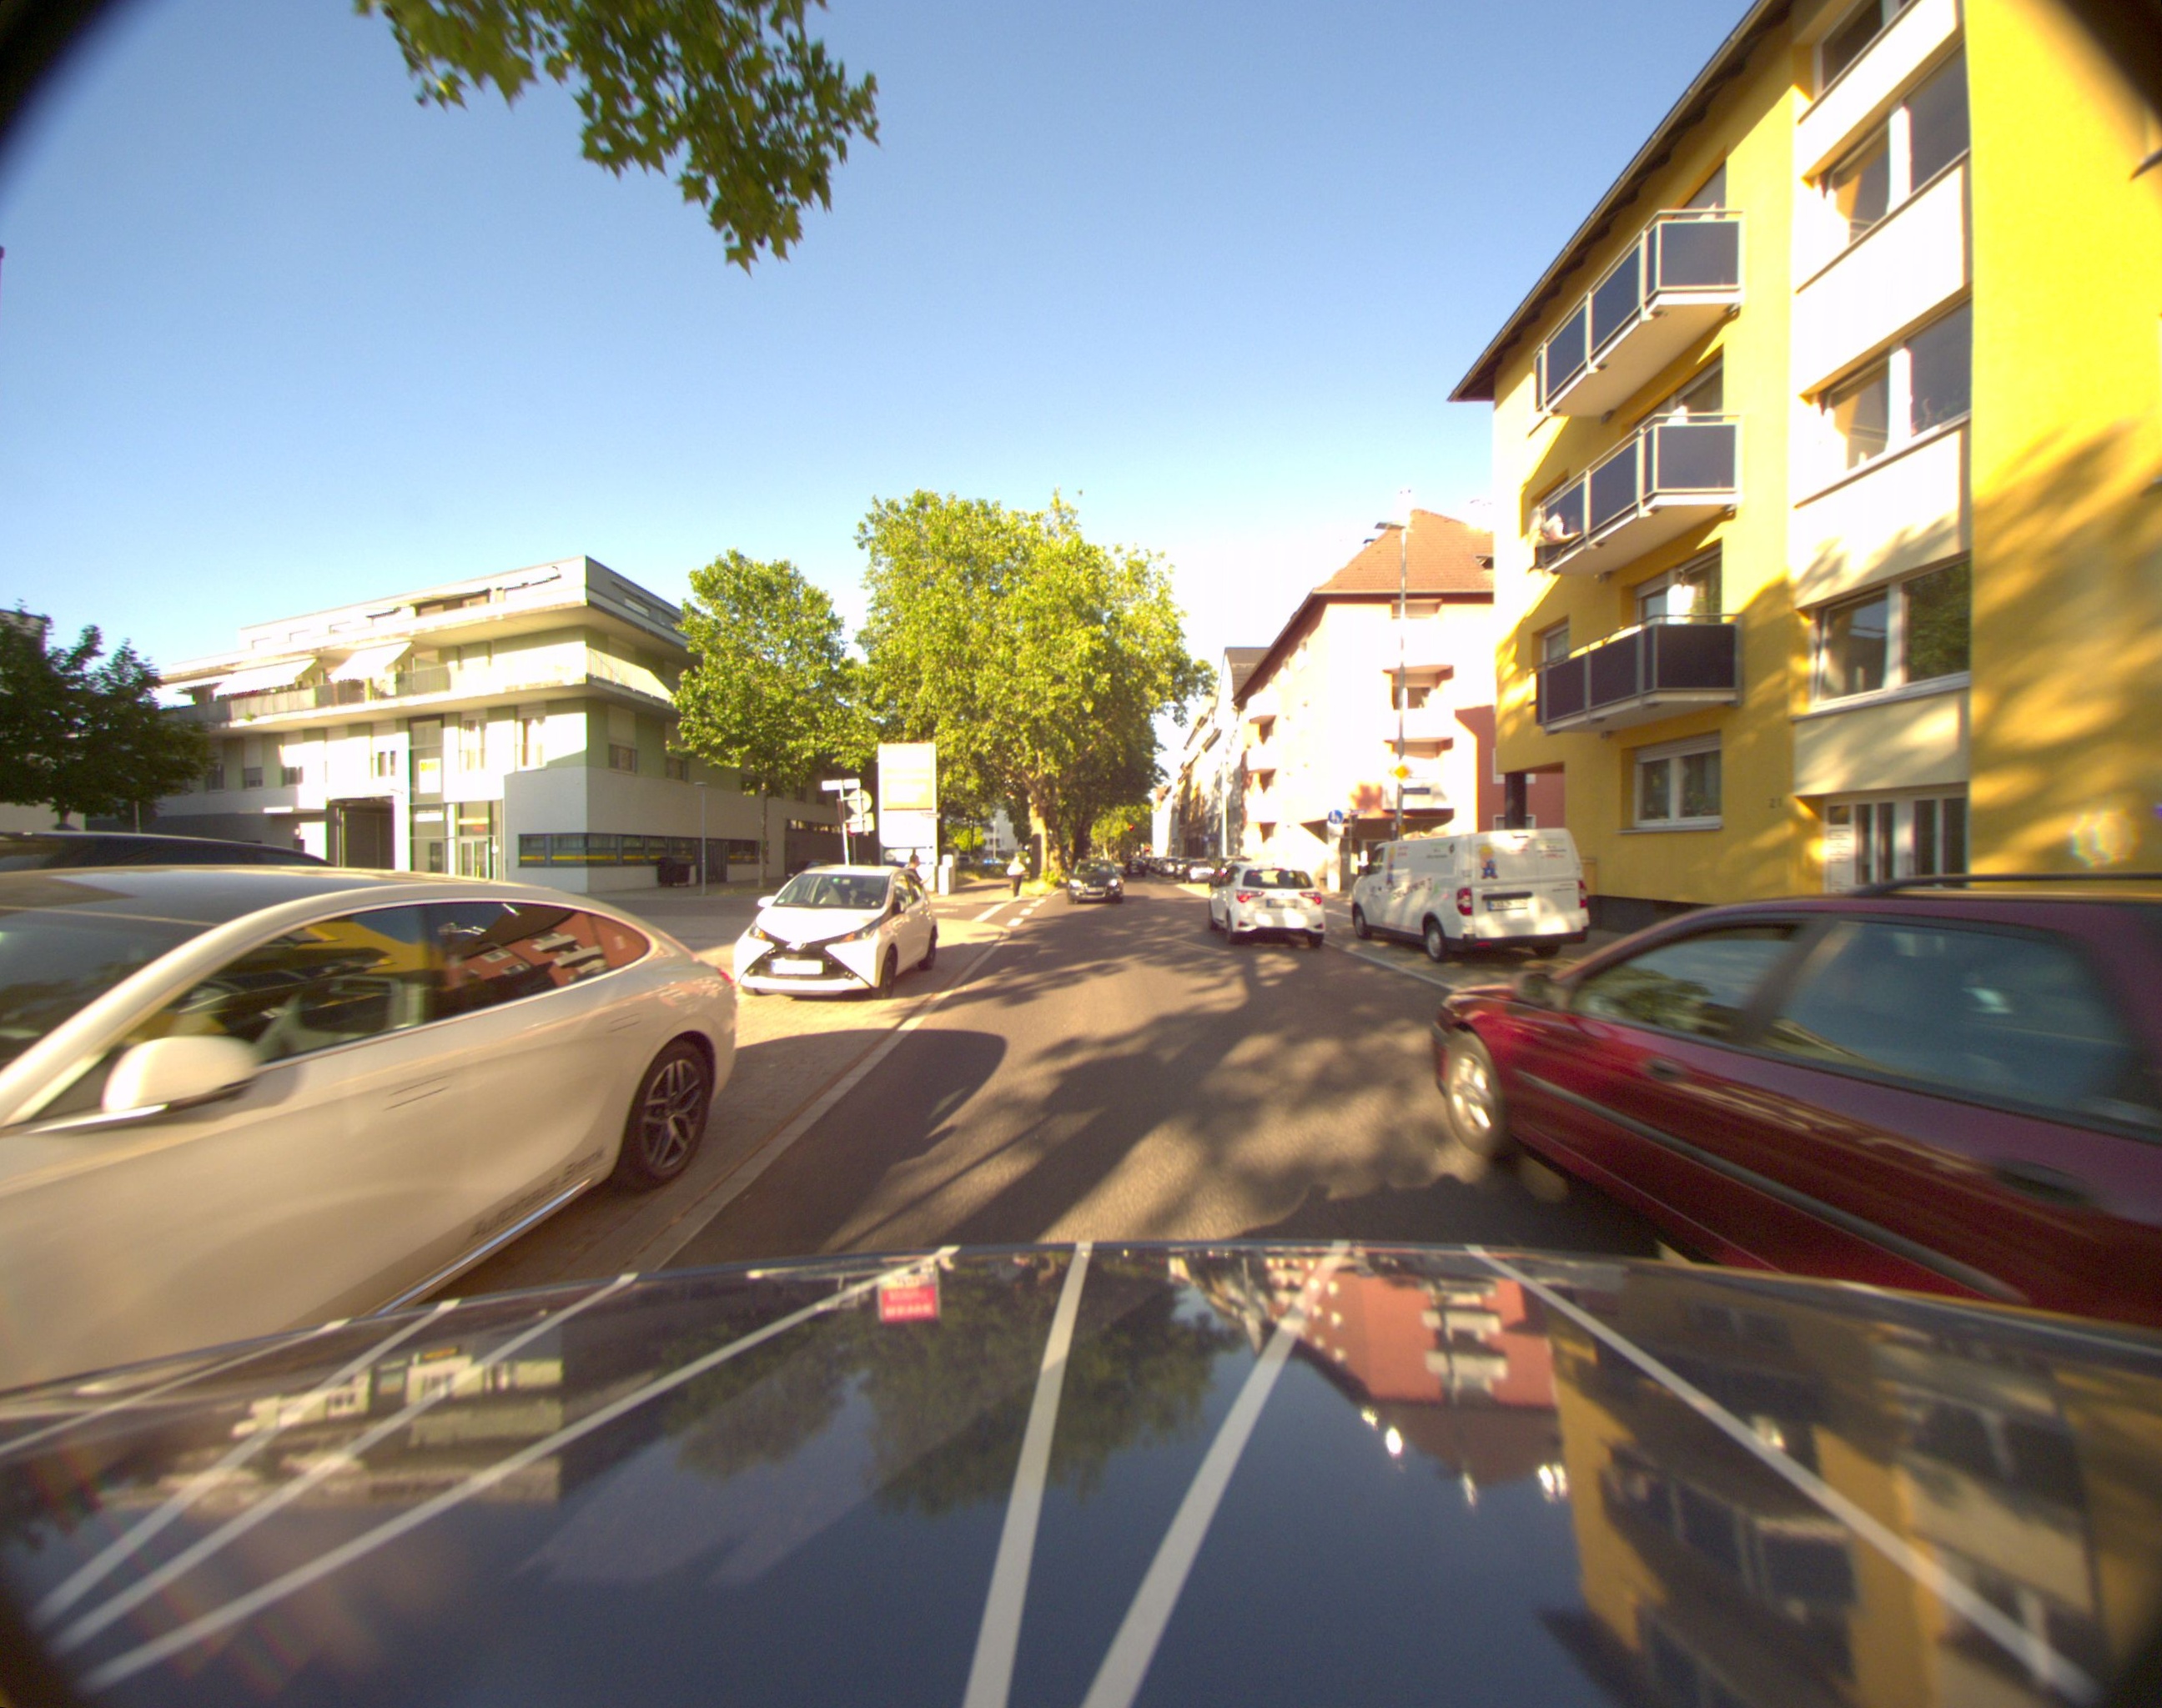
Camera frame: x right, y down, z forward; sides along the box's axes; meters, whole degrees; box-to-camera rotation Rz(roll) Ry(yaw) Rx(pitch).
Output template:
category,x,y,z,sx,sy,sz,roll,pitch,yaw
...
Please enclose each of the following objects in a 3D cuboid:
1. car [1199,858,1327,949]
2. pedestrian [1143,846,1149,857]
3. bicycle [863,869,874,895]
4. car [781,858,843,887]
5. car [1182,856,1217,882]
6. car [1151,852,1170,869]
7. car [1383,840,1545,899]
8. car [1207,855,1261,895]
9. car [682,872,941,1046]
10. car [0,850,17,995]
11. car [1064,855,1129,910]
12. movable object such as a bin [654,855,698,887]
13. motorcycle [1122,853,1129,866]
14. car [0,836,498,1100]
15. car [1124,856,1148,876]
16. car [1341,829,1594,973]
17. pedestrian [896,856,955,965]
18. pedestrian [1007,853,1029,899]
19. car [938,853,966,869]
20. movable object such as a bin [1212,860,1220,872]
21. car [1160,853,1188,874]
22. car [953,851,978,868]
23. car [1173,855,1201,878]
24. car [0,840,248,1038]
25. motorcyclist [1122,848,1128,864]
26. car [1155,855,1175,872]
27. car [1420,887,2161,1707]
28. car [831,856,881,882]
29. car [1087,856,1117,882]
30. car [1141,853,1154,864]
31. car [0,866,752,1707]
category,x,y,z,sx,sy,sz,roll,pitch,yaw
car,3.435,0.869,15.018,1.643,1.515,3.934,-1,0,1
pedestrian,8.959,-0.317,104.567,0.865,1.561,0.706,0,0,6
bicycle,-8.709,1.123,31.171,0.384,0.997,1.484,0,0,-14
car,-14.391,0.950,40.933,1.864,1.460,4.123,0,0,0
car,7.101,0.870,45.644,1.681,1.477,3.602,-2,0,3
car,8.213,0.644,78.534,1.681,1.575,4.201,-2,0,3
car,13.437,0.536,26.900,4.757,2.002,1.920,0,1,3
car,6.481,0.848,32.586,1.681,1.515,4.022,-2,0,3
car,-2.895,1.031,9.118,1.639,1.459,4.020,1,1,0
car,-13.281,0.791,6.770,1.731,1.674,4.180,0,0,-1
car,0.585,0.842,24.500,1.844,1.536,4.525,-2,0,3
movable object such as a bin,-19.087,0.800,35.825,1.195,1.454,1.409,0,0,13
motorcycle,4.376,0.496,75.192,0.548,1.234,2.264,2,1,2
car,-7.616,0.718,6.642,1.756,1.660,4.158,0,0,1
car,4.555,0.979,63.355,1.775,1.470,4.322,-2,0,2
car,6.063,0.636,12.772,1.738,1.895,5.209,-1,0,2
pedestrian,-2.558,0.897,12.495,0.723,1.713,0.692,-1,1,-39
pedestrian,-2.450,0.836,29.581,0.770,1.751,0.663,1,1,-11
car,-12.974,0.711,76.540,1.863,1.534,4.320,0,0,2
movable object such as a bin,10.830,0.974,60.873,0.558,0.941,0.669,0,0,3
car,7.580,0.764,62.081,1.912,1.632,4.578,-2,0,3
car,-12.668,0.570,83.760,1.909,1.760,4.320,0,0,2
car,7.777,0.894,56.160,1.681,1.632,3.985,-2,0,3
car,-10.317,0.740,6.388,1.830,1.721,4.367,0,0,-1
motorcyclist,4.380,0.175,75.205,0.587,1.596,0.831,0,0,2
car,8.032,0.880,72.788,1.681,1.487,3.872,-2,0,3
car,2.706,0.952,2.055,1.667,1.515,4.412,1,0,1
car,-14.112,0.904,47.871,1.863,1.543,3.760,0,0,2
car,1.210,0.823,43.392,1.654,1.445,3.535,0,0,2
car,10.330,0.722,118.303,1.910,1.663,4.494,-2,0,6
car,-2.888,0.895,2.061,1.814,1.530,4.583,2,1,2
